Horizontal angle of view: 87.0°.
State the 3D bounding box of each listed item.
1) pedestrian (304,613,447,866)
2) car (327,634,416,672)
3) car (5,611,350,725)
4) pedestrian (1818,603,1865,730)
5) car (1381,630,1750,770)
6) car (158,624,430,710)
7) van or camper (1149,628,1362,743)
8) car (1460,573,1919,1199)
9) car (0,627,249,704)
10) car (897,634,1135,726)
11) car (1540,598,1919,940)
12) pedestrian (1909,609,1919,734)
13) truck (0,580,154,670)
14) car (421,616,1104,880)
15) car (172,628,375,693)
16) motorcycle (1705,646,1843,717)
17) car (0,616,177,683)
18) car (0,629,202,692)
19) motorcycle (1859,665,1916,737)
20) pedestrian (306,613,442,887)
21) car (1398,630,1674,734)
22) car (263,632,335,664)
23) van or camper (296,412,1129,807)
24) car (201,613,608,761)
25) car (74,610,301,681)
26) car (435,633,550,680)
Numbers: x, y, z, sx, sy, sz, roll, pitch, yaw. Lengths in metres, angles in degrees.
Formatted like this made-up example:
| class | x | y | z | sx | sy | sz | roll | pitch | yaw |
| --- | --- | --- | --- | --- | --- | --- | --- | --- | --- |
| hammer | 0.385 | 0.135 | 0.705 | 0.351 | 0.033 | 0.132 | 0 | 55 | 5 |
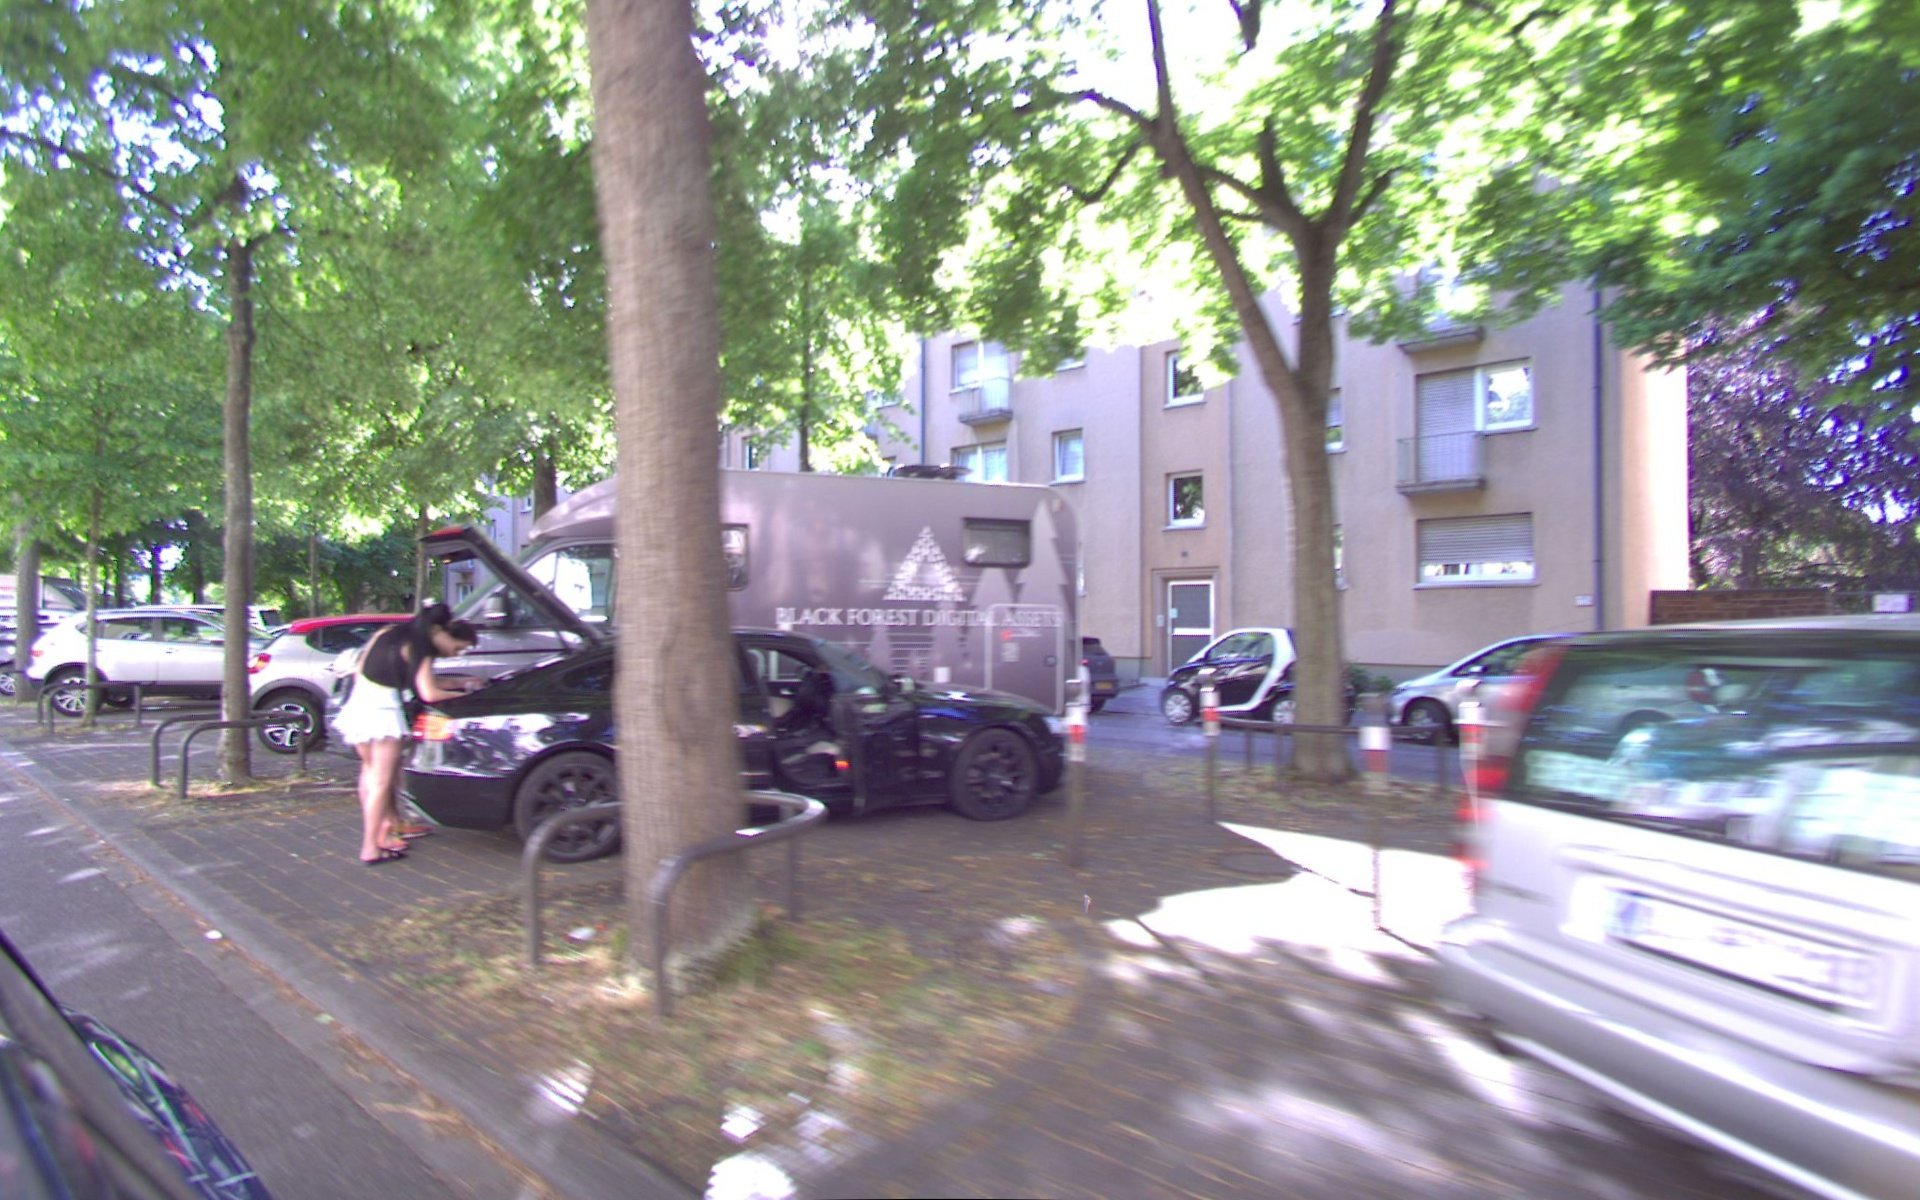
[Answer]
| class | x | y | z | sx | sy | sz | roll | pitch | yaw |
| --- | --- | --- | --- | --- | --- | --- | --- | --- | --- |
| pedestrian | -3.616 | 0.827 | 6.316 | 0.699 | 1.467 | 0.598 | 1 | -3 | -26 |
| car | -23.287 | 2.075 | 39.956 | 4.532 | 1.417 | 1.602 | -2 | -3 | 40 |
| car | -12.483 | 1.058 | 16.496 | 4.075 | 1.692 | 1.765 | 1 | -2 | -20 |
| pedestrian | 13.061 | 0.971 | 15.006 | 0.462 | 1.841 | 0.494 | -2 | -4 | 41 |
| car | 7.564 | 1.149 | 12.839 | 3.768 | 1.511 | 1.646 | -2 | -3 | 41 |
| car | -12.509 | 1.214 | 19.310 | 3.974 | 1.413 | 1.829 | -1 | -1 | -16 |
| van or camper | 4.448 | 1.238 | 15.359 | 2.696 | 1.567 | 1.580 | -2 | -3 | 41 |
| car | 3.742 | 0.704 | 2.530 | 4.413 | 1.454 | 1.737 | 0 | -2 | -16 |
| car | -17.477 | 1.299 | 20.788 | 4.348 | 1.473 | 1.721 | 0 | -1 | -16 |
| car | 0.953 | 1.408 | 18.876 | 4.307 | 1.519 | 1.745 | -2 | -3 | 41 |
| car | 5.316 | 0.757 | 5.658 | 3.512 | 1.435 | 1.680 | 1 | -2 | -20 |
| pedestrian | 13.619 | 0.991 | 14.064 | 0.559 | 1.740 | 0.494 | -2 | -4 | 41 |
| truck | -35.696 | 0.957 | 38.598 | 7.200 | 3.319 | 2.554 | 1 | -3 | -17 |
| car | -1.277 | 0.857 | 7.106 | 4.254 | 1.435 | 1.680 | 1 | -2 | -22 |
| car | -16.314 | 1.417 | 24.230 | 3.573 | 1.466 | 1.822 | 0 | -2 | -12 |
| motorcycle | 13.789 | 1.354 | 17.200 | 1.780 | 1.153 | 0.406 | -2 | -3 | 40 |
| car | -26.038 | 1.422 | 29.698 | 4.445 | 1.879 | 2.088 | 0 | -2 | -24 |
| car | -21.480 | 1.447 | 24.696 | 4.413 | 1.466 | 1.793 | 1 | -2 | -17 |
| motorcycle | 13.023 | 1.388 | 14.225 | 0.536 | 0.927 | 1.756 | -2 | -4 | 42 |
| pedestrian | -3.337 | 0.818 | 5.810 | 0.606 | 1.467 | 0.521 | 1 | -3 | -26 |
| car | 9.200 | 1.250 | 16.324 | 3.610 | 1.493 | 1.607 | -2 | -3 | 41 |
| car | -30.631 | 2.198 | 46.849 | 4.342 | 1.446 | 1.745 | -2 | -3 | 42 |
| van or camper | -2.041 | 0.172 | 9.963 | 7.123 | 2.952 | 2.321 | 1 | -3 | -22 |
| car | -6.273 | 0.967 | 11.962 | 3.931 | 1.519 | 1.763 | 1 | -3 | -20 |
| car | -21.152 | 1.258 | 27.970 | 4.526 | 1.846 | 2.025 | 1 | -2 | -20 |
| car | -15.117 | 1.791 | 32.643 | 3.998 | 1.398 | 1.872 | -2 | -4 | 41 |
